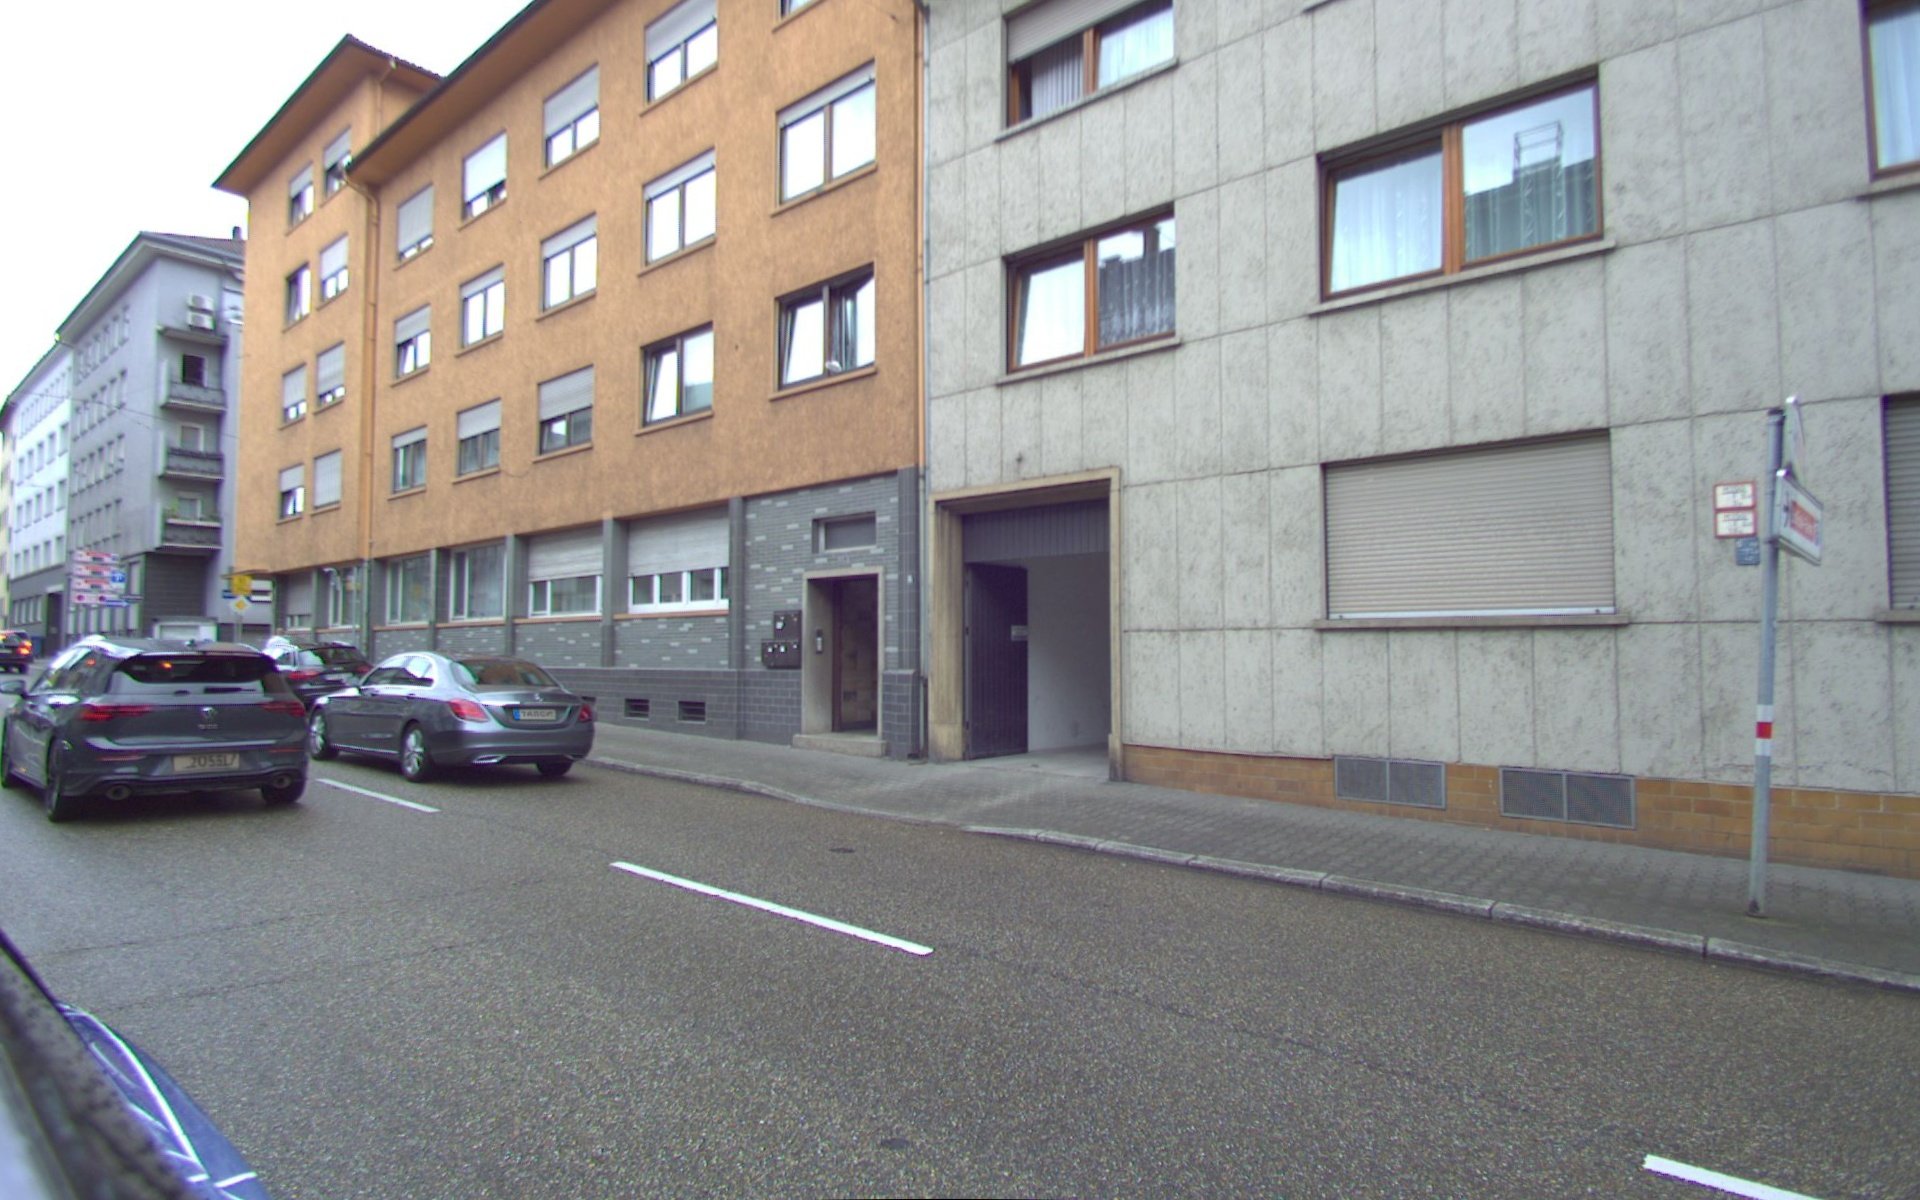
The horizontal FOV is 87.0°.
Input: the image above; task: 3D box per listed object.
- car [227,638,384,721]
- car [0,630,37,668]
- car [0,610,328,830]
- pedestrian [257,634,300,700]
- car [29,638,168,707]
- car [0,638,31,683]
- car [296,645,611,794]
[{"bbox_3d":[-14.250,1.636,21.939,4.216,1.485,1.776,-1,0,41],"label":"car"},{"bbox_3d":[-46.475,2.362,49.277,4.216,1.735,1.832,-1,0,41],"label":"car"},{"bbox_3d":[-7.623,0.942,9.398,4.214,1.592,1.677,0,-4,40],"label":"car"},{"bbox_3d":[-17.999,1.746,26.720,0.757,1.652,1.024,-1,0,-44],"label":"pedestrian"},{"bbox_3d":[-20.408,1.684,23.925,4.370,1.484,1.705,-2,-5,40],"label":"car"},{"bbox_3d":[-36.566,2.201,38.107,4.433,1.551,1.677,-1,-6,40],"label":"car"},{"bbox_3d":[-6.164,1.317,12.102,4.362,1.381,1.678,-1,-5,40],"label":"car"}]
